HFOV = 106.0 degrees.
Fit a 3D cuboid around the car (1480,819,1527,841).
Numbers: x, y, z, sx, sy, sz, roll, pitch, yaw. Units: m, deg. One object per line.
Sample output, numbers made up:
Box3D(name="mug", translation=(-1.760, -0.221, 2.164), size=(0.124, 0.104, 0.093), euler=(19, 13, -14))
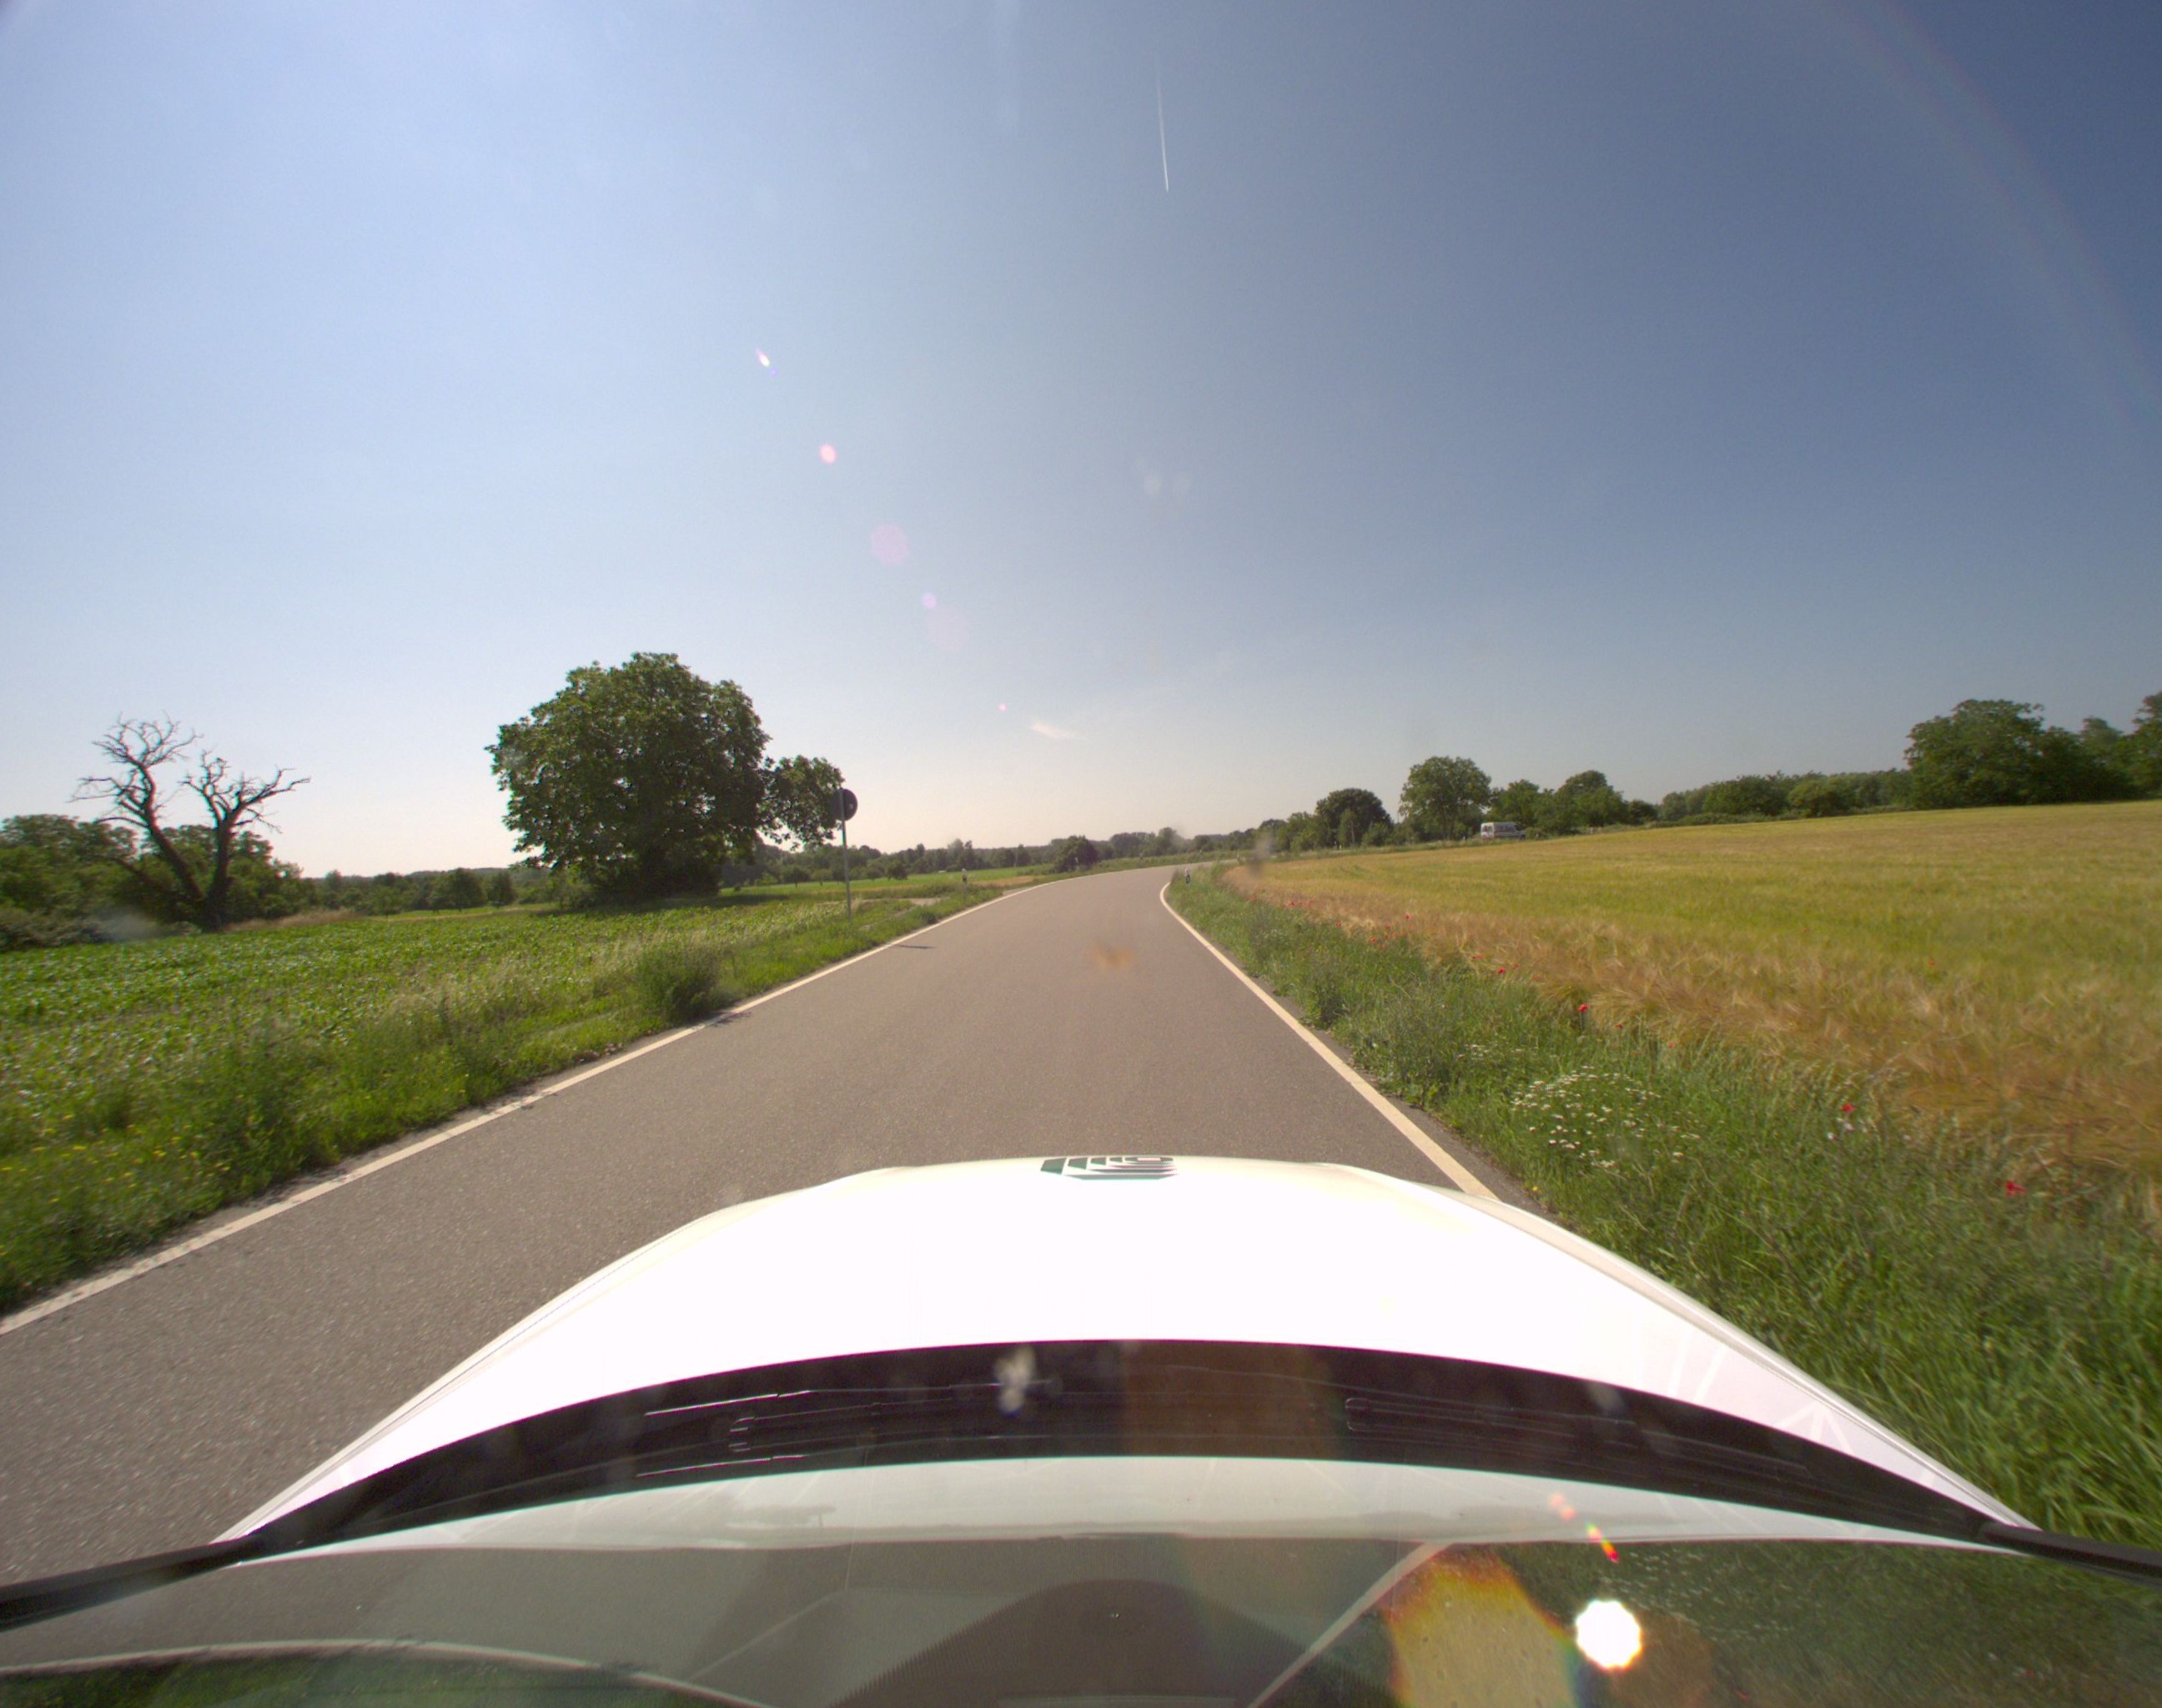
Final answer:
Box3D(name="car", translation=(52.290, -2.957, 100.719), size=(5.698, 2.367, 2.093), euler=(-4, 0, -26))
